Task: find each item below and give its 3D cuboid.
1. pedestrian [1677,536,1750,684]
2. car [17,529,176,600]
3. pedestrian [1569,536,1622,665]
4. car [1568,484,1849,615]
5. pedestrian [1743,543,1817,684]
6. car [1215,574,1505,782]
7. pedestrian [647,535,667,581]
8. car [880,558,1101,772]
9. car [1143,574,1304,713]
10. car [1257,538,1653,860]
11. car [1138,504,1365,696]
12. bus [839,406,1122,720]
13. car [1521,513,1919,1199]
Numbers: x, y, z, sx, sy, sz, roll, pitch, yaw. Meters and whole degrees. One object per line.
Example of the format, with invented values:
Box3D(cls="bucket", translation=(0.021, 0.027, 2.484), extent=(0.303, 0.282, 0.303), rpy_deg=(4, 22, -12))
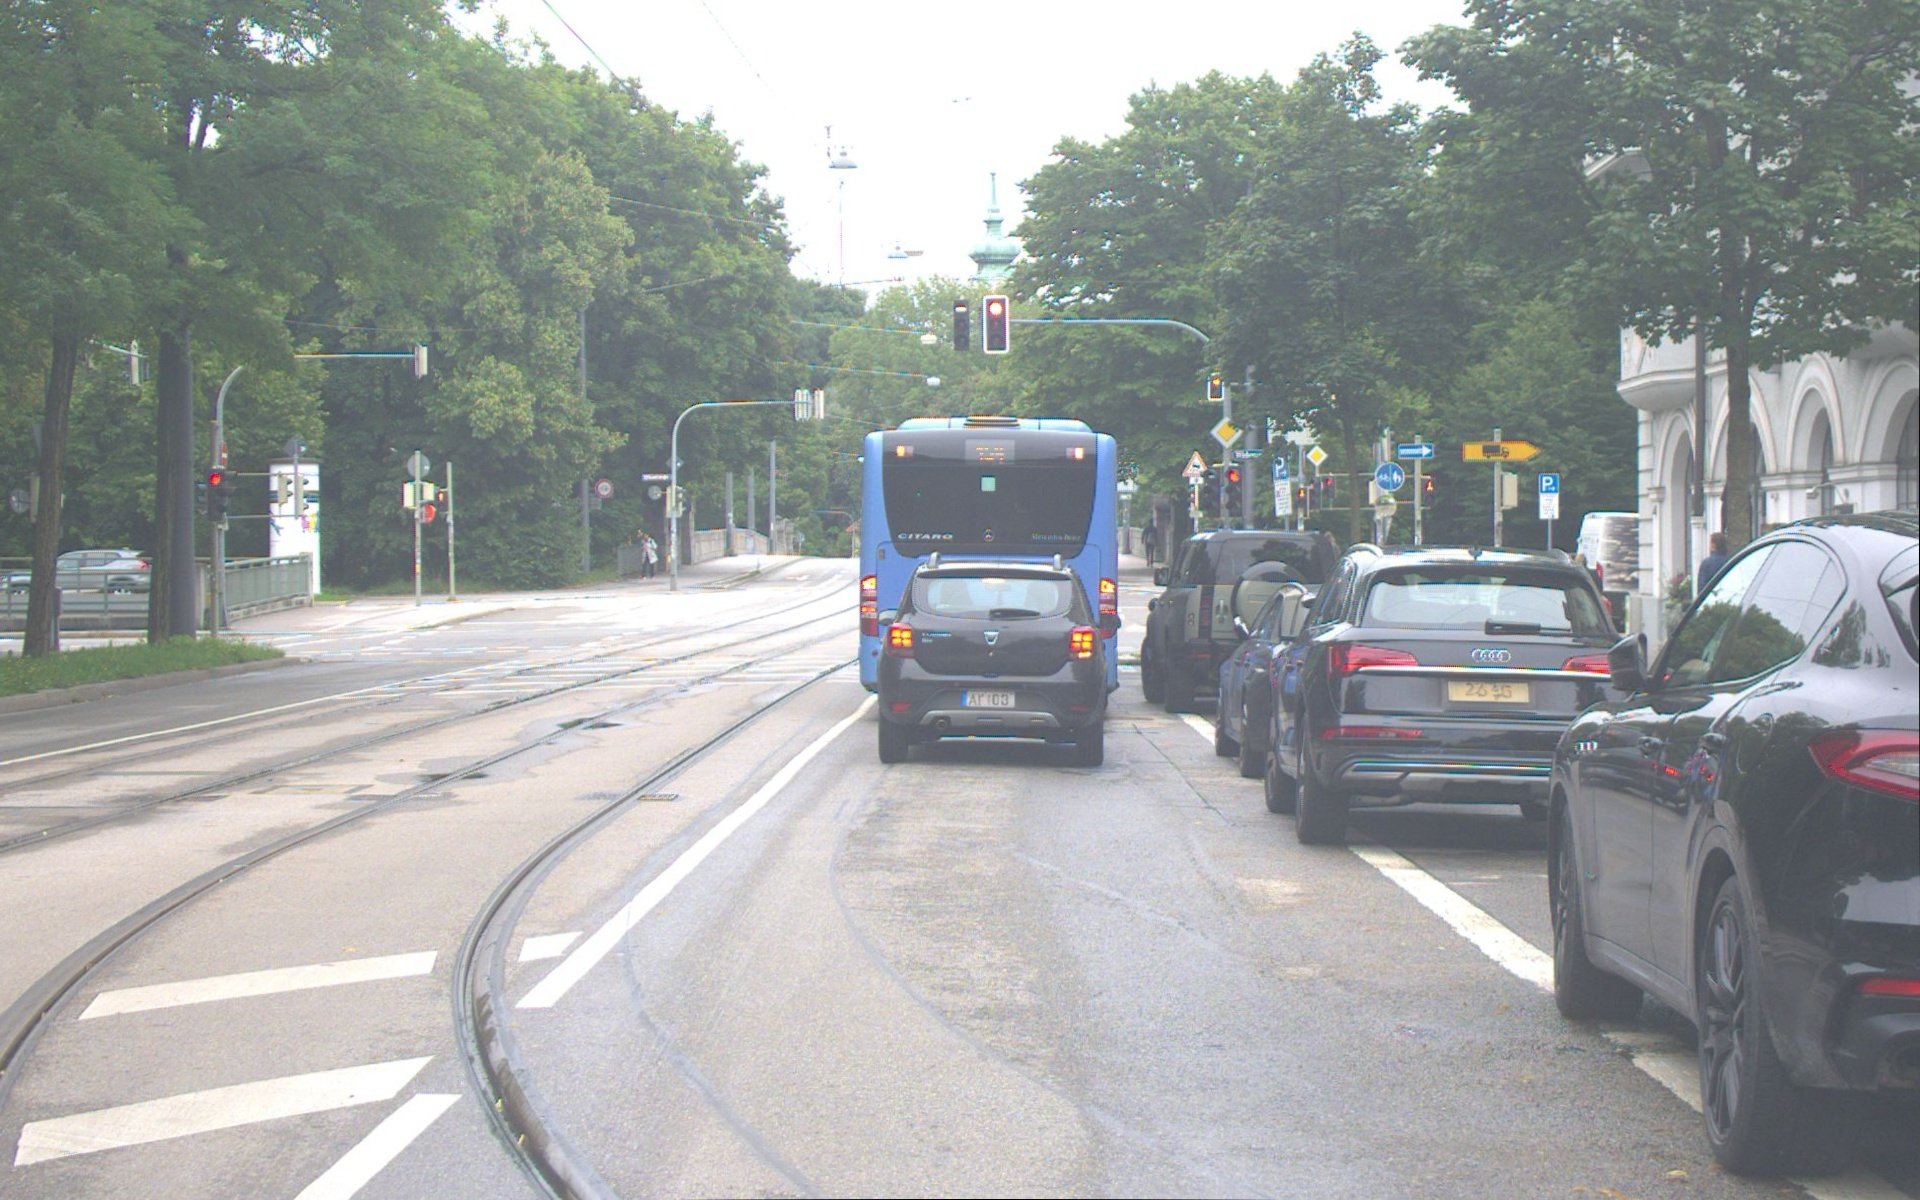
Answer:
Box3D(cls="pedestrian", translation=(9.370, 0.117, 42.789), extent=(0.705, 1.810, 0.870), rpy_deg=(1, 0, 1))
Box3D(cls="car", translation=(-23.667, -0.982, 94.257), extent=(4.021, 1.880, 1.491), rpy_deg=(1, 0, -5))
Box3D(cls="pedestrian", translation=(9.991, -0.001, 54.076), extent=(0.673, 2.007, 0.716), rpy_deg=(1, 0, 1))
Box3D(cls="car", translation=(15.508, -1.047, 71.431), extent=(5.295, 2.604, 2.231), rpy_deg=(1, 0, -1))
Box3D(cls="pedestrian", translation=(10.191, 0.162, 42.732), extent=(0.705, 1.726, 0.843), rpy_deg=(1, 0, 1))
Box3D(cls="car", translation=(2.971, 0.531, 26.363), extent=(1.716, 1.421, 4.602), rpy_deg=(1, 1, 1))
Box3D(cls="pedestrian", translation=(-9.960, -1.371, 113.165), extent=(0.532, 1.496, 0.588), rpy_deg=(1, 0, 6))
Box3D(cls="car", translation=(0.242, 0.458, 27.049), extent=(1.601, 1.551, 3.525), rpy_deg=(1, 1, 1))
Box3D(cls="car", translation=(3.194, 0.489, 42.299), extent=(1.714, 1.586, 4.327), rpy_deg=(1, 1, 1))
Box3D(cls="car", translation=(2.756, 0.491, 20.040), extent=(1.774, 1.652, 4.487), rpy_deg=(0, 1, 2))
Box3D(cls="car", translation=(3.035, -0.023, 36.748), extent=(1.914, 1.899, 4.808), rpy_deg=(1, 1, -1))
Box3D(cls="bus", translation=(0.158, -0.393, 36.580), extent=(2.678, 2.987, 6.961), rpy_deg=(1, 1, -1))
Box3D(cls="car", translation=(2.851, 0.580, 9.622), extent=(1.901, 1.604, 4.665), rpy_deg=(1, 1, 2))
